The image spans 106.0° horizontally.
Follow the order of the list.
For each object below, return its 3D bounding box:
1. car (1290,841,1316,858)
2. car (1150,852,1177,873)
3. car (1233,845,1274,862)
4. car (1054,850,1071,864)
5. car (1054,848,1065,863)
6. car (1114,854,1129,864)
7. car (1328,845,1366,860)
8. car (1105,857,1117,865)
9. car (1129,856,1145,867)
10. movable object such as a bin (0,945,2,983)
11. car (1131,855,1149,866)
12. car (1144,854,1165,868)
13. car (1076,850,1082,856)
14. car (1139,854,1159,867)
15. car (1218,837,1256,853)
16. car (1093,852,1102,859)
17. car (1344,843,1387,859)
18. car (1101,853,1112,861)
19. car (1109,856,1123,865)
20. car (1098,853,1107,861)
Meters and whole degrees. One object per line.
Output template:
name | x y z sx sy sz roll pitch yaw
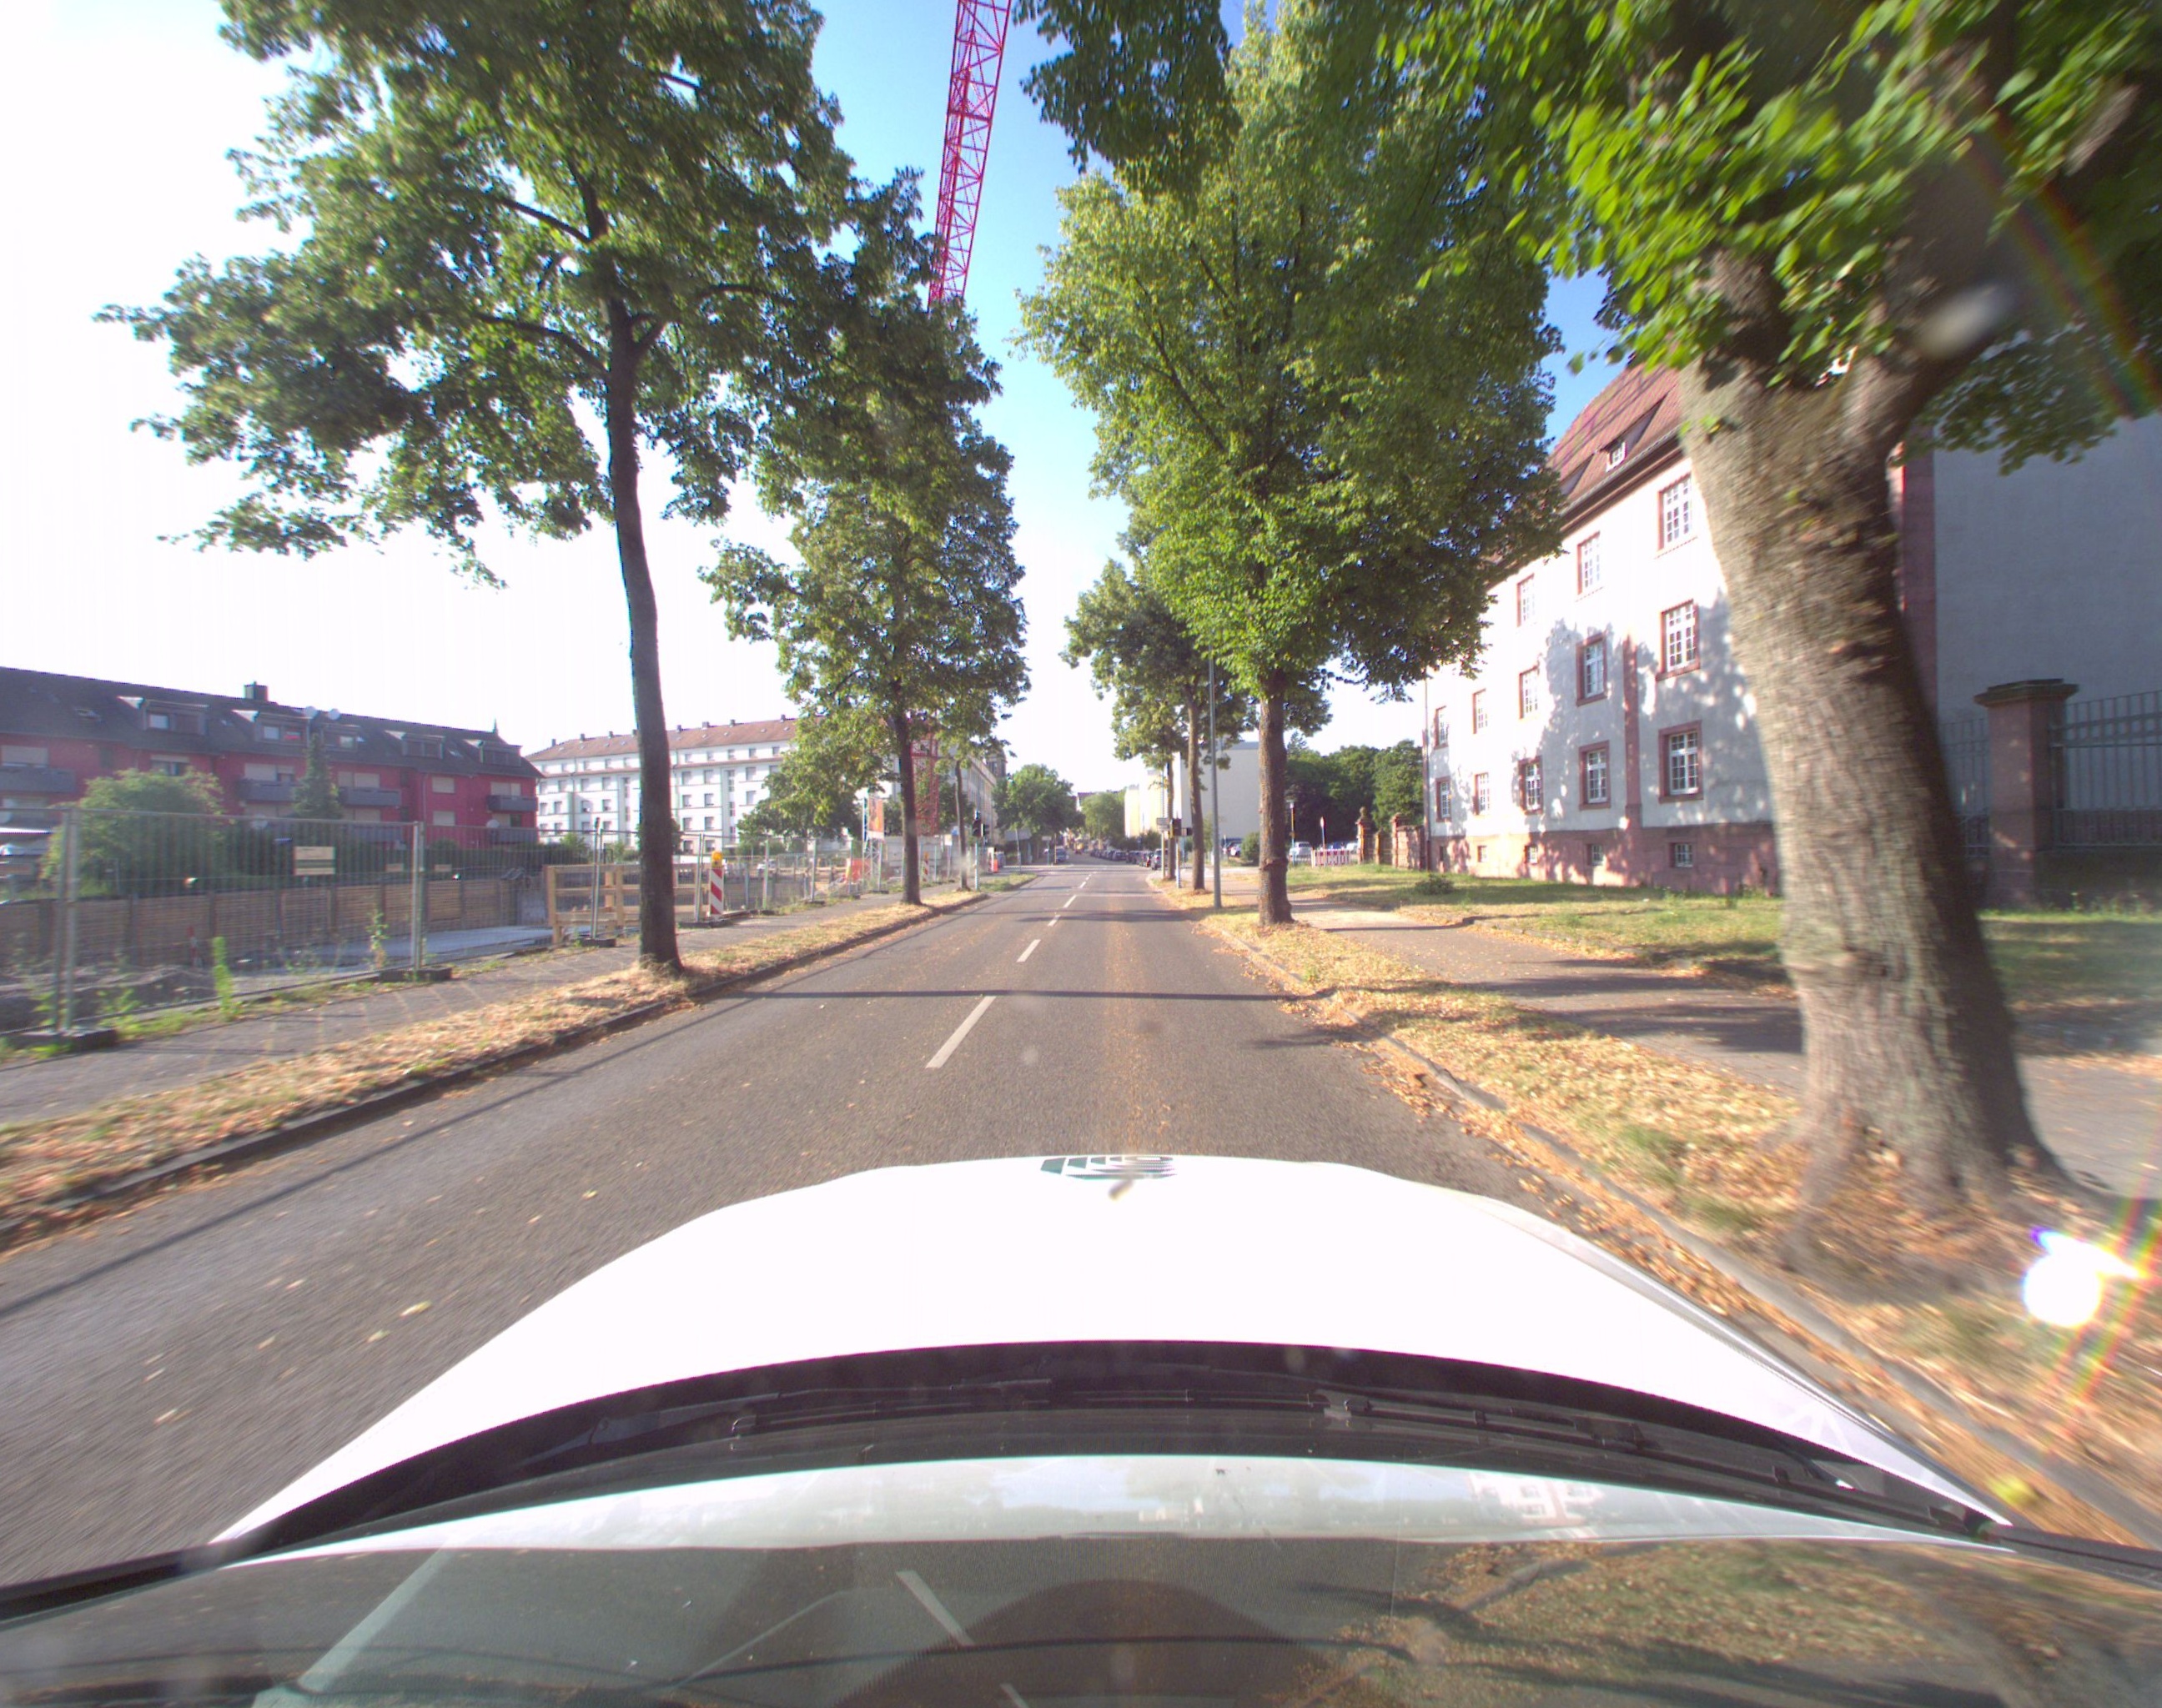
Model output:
car | 21.524 -0.411 79.059 1.804 1.559 3.629 0 -1 4
car | 6.798 0.703 67.408 1.834 1.574 4.001 -2 0 1
car | 17.515 -0.050 83.035 3.965 1.684 2.004 0 -1 7
car | -2.481 0.399 107.119 1.989 1.687 3.994 -2 -1 -4
car | -4.531 0.319 172.205 2.180 3.131 4.981 -4 -1 -2
car | 5.916 0.753 119.791 1.836 1.386 3.997 -2 0 -1
car | 31.085 -0.183 95.288 3.970 1.728 1.774 0 0 2
car | 5.242 1.232 142.750 1.836 1.386 3.997 -2 0 -1
car | 6.944 0.930 101.516 1.834 1.261 4.001 -2 0 1
movable object such as a bin | -33.870 1.322 17.934 2.982 4.993 11.628 -4 0 24
car | 6.878 0.742 94.864 1.834 1.261 4.001 -2 0 1
car | 7.097 0.683 78.859 1.773 1.227 4.001 -2 0 1
car | -0.610 -0.325 233.355 1.709 1.486 3.997 -2 -1 -2
car | 6.996 0.693 84.178 1.834 1.261 4.001 -2 0 1
car | 17.614 -1.008 91.983 3.970 1.728 1.774 0 0 2
car | 3.862 0.427 192.908 1.837 1.385 3.998 -10 -1 -1
car | 30.564 -0.294 87.586 3.970 1.728 1.774 0 0 2
car | 5.091 0.598 163.533 1.836 1.386 3.997 -2 0 -1
car | 5.569 0.979 130.534 1.836 1.386 3.997 -2 0 -1
car | 4.469 0.627 169.852 1.836 1.386 3.997 -2 0 -1
